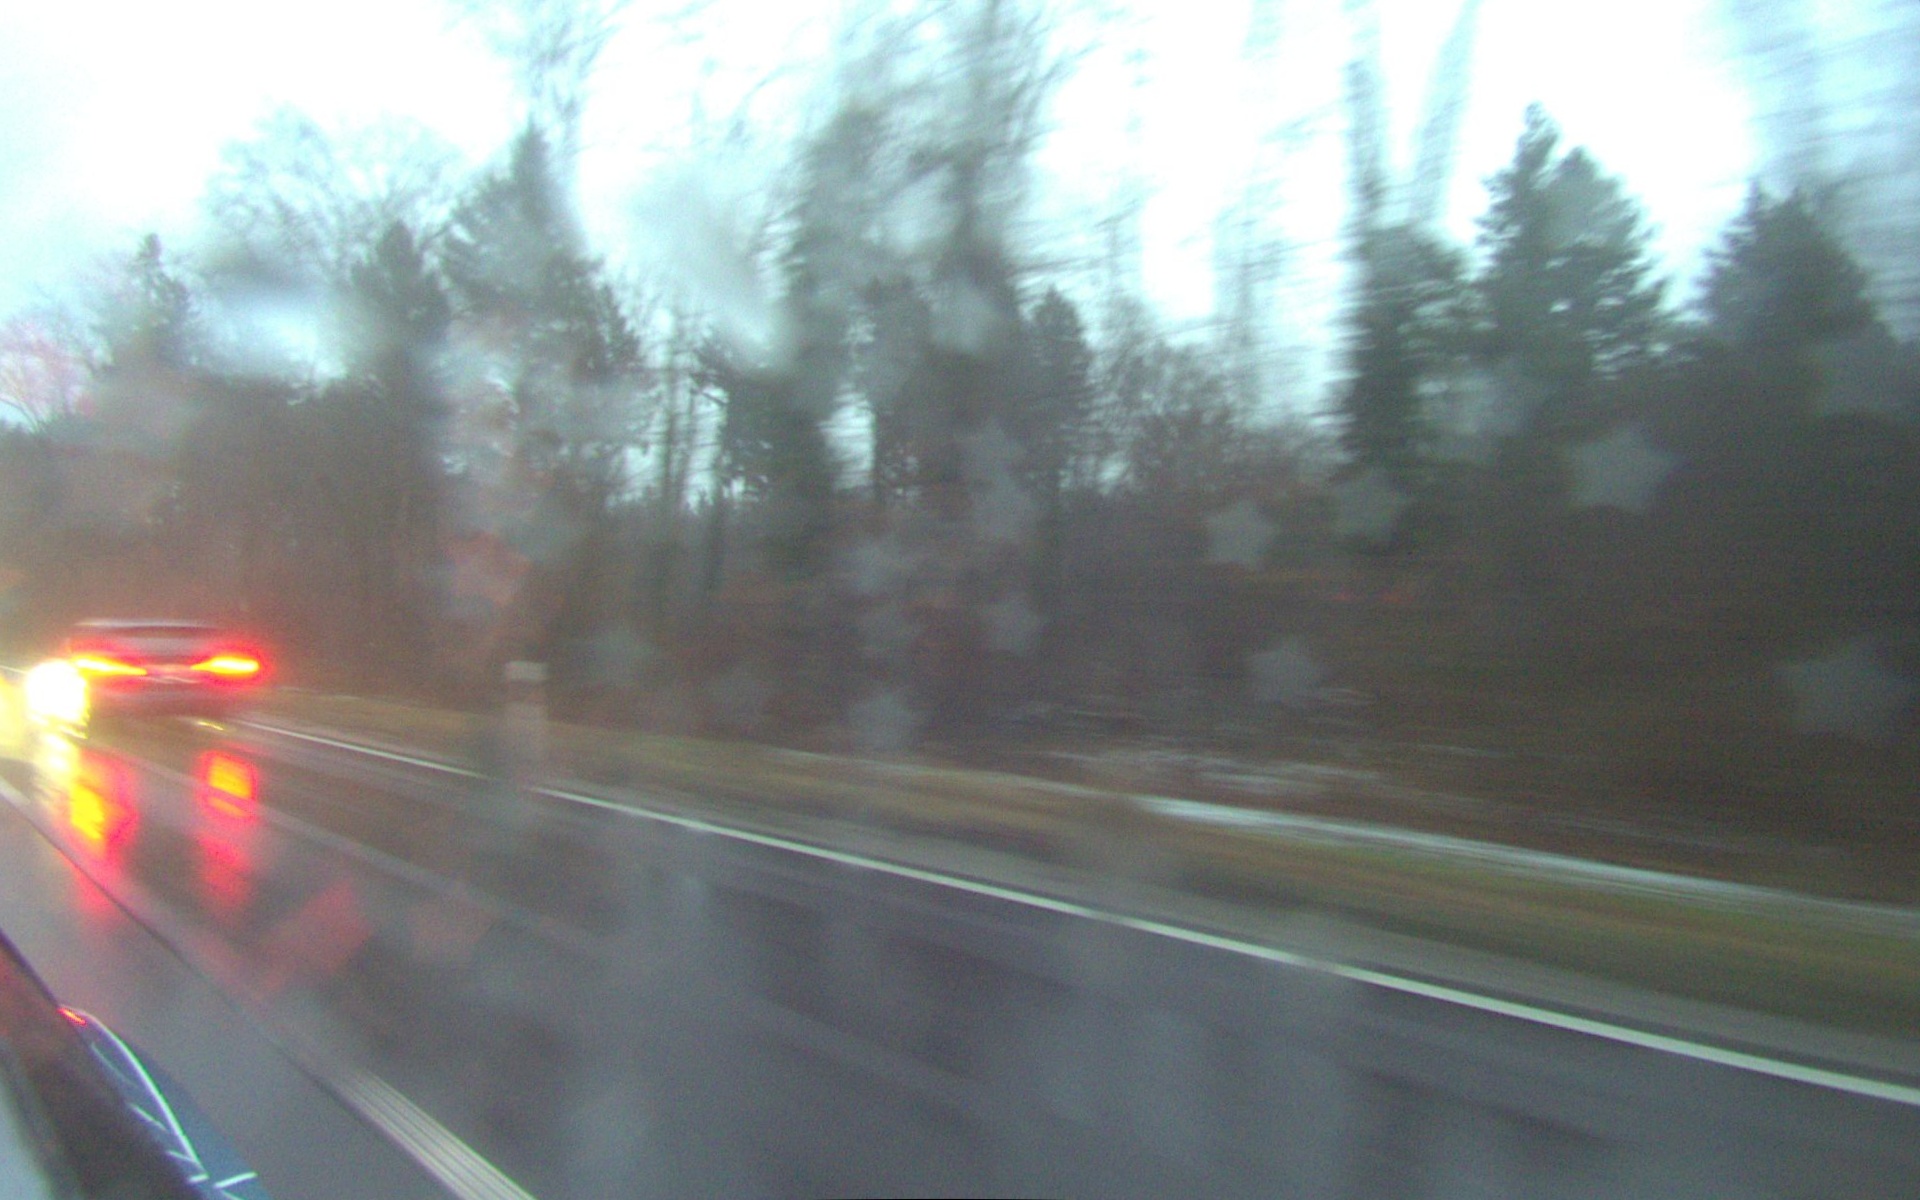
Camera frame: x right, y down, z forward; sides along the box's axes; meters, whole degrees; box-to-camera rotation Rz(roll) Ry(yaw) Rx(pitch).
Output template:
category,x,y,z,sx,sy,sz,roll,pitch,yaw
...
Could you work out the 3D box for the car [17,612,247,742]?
category,x,y,z,sx,sy,sz,roll,pitch,yaw
car,-12.134,1.011,14.697,4.927,1.580,1.953,-1,-3,43
